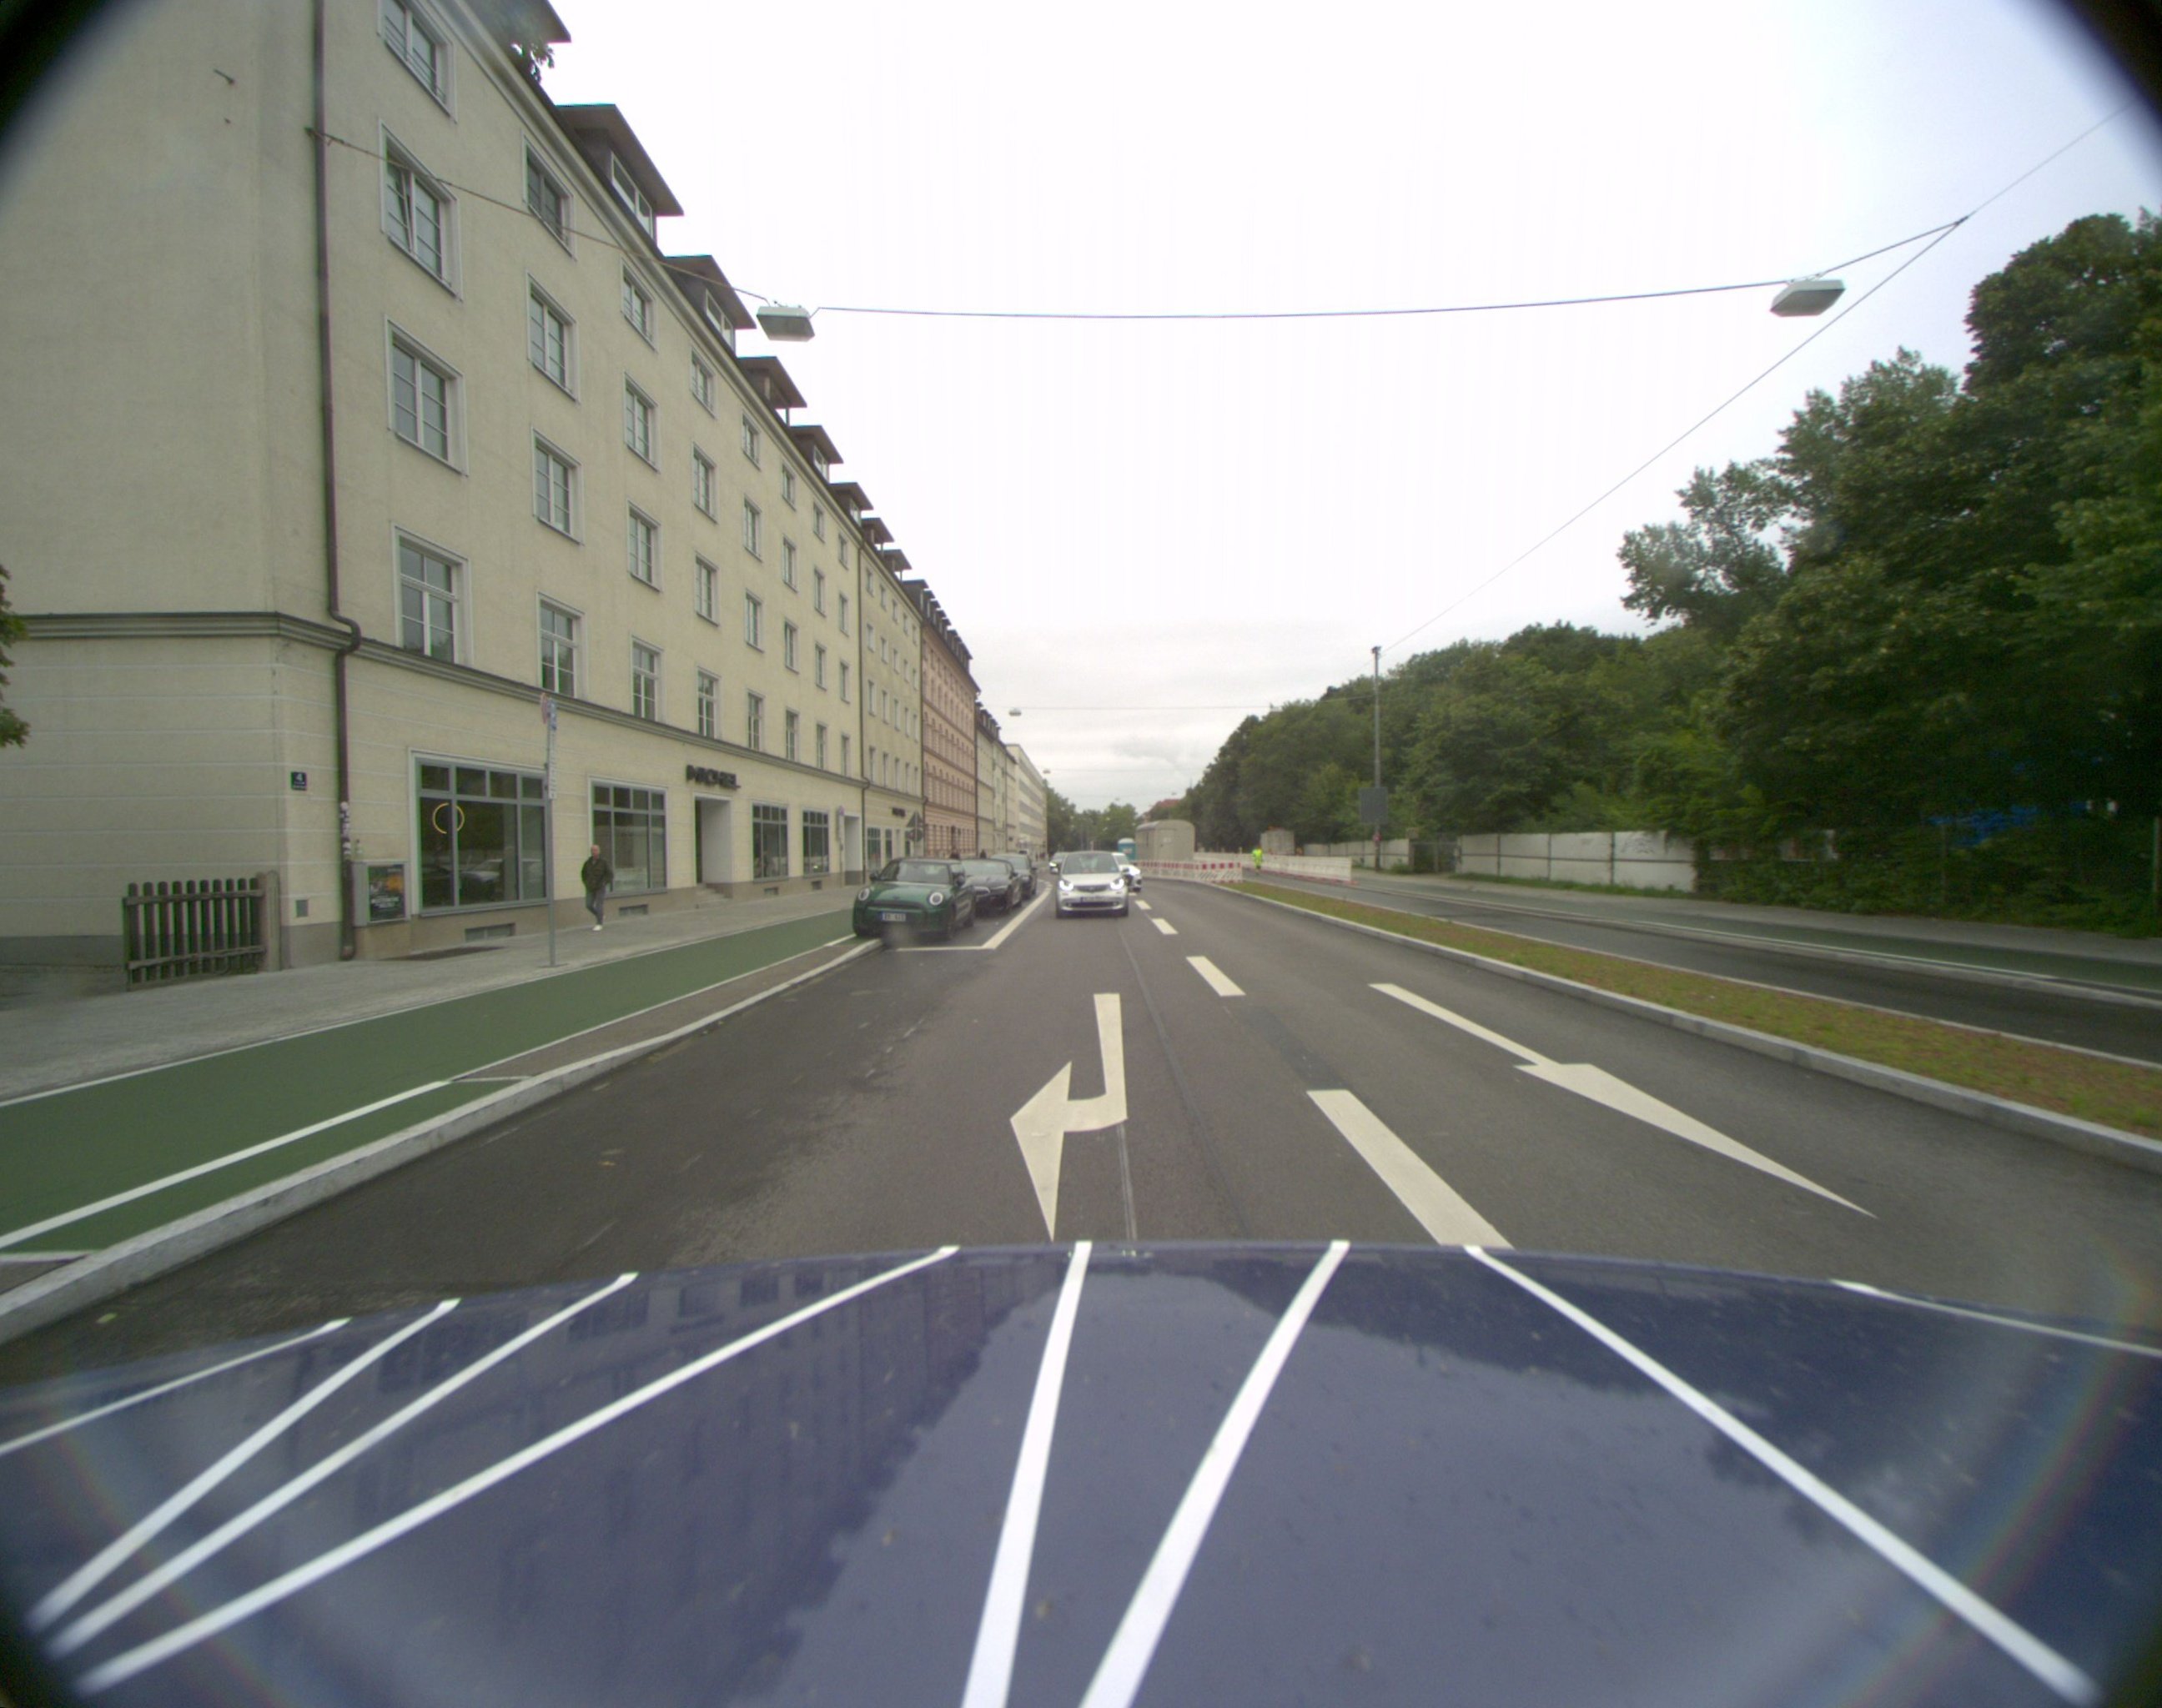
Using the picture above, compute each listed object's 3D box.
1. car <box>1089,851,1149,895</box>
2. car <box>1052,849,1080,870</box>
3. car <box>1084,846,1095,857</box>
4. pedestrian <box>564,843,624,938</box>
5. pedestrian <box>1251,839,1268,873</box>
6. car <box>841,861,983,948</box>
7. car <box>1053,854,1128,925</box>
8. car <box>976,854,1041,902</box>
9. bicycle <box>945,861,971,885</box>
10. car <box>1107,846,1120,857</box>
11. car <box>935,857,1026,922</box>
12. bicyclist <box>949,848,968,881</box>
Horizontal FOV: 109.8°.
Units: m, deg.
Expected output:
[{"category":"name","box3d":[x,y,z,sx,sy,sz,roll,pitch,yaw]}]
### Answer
[{"category":"car","box3d":[1.316,0.648,28.333,1.818,1.416,4.450,-2,1,-2]},{"category":"car","box3d":[-1.072,0.372,57.634,1.922,1.433,4.306,-3,1,1]},{"category":"car","box3d":[1.563,-0.508,141.650,1.998,2.002,4.000,-1,1,1]},{"category":"pedestrian","box3d":[-9.823,0.714,15.356,0.655,1.863,0.826,0,1,1]},{"category":"pedestrian","box3d":[10.632,0.115,45.364,0.757,2.002,0.867,-2,1,1]},{"category":"car","box3d":[-3.075,0.862,14.671,1.739,1.313,4.000,-2,1,1]},{"category":"car","box3d":[0.245,0.787,18.945,1.633,1.495,4.000,-2,1,1]},{"category":"car","box3d":[-2.411,0.767,26.153,1.739,1.425,4.000,-2,1,1]},{"category":"bicycle","box3d":[-5.802,0.861,36.080,0.751,1.026,2.530,-2,1,1]},{"category":"car","box3d":[4.476,-0.411,105.746,1.739,1.425,4.000,-2,1,1]},{"category":"car","box3d":[-2.507,0.839,19.841,1.739,1.425,4.000,-2,1,1]},{"category":"bicyclist","box3d":[-5.811,0.496,36.065,0.724,1.543,0.858,-2,1,1]}]
